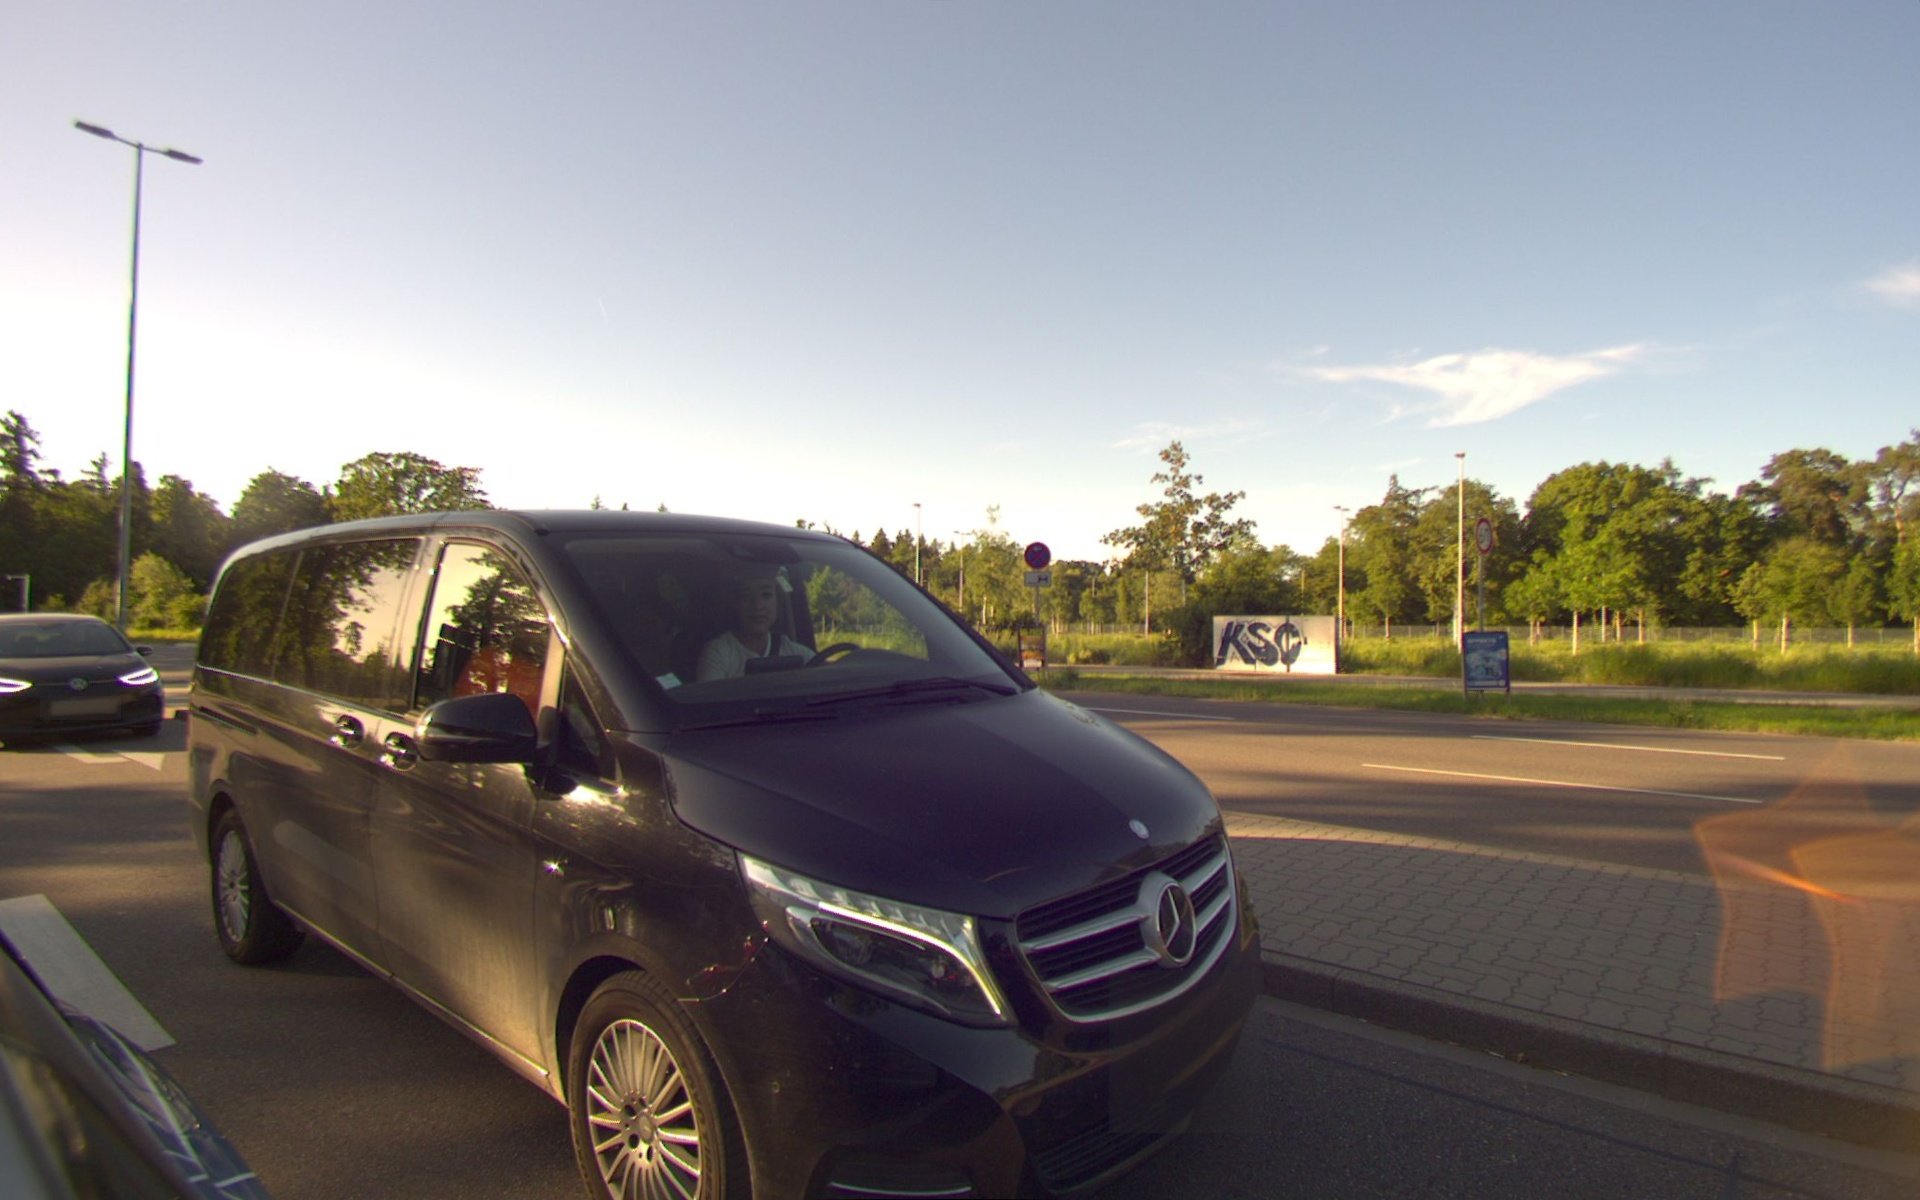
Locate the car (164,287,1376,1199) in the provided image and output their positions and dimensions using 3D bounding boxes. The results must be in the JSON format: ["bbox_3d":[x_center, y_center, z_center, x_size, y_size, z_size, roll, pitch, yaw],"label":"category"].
[{"bbox_3d":[-1.240,0.474,3.833,4.870,1.870,1.888,-1,0,41],"label":"car"}]

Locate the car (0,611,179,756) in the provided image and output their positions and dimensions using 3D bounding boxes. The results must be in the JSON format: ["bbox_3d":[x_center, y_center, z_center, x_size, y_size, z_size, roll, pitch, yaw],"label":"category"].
[{"bbox_3d":[-11.577,0.935,12.824,3.997,1.548,1.859,-1,0,40],"label":"car"}]
